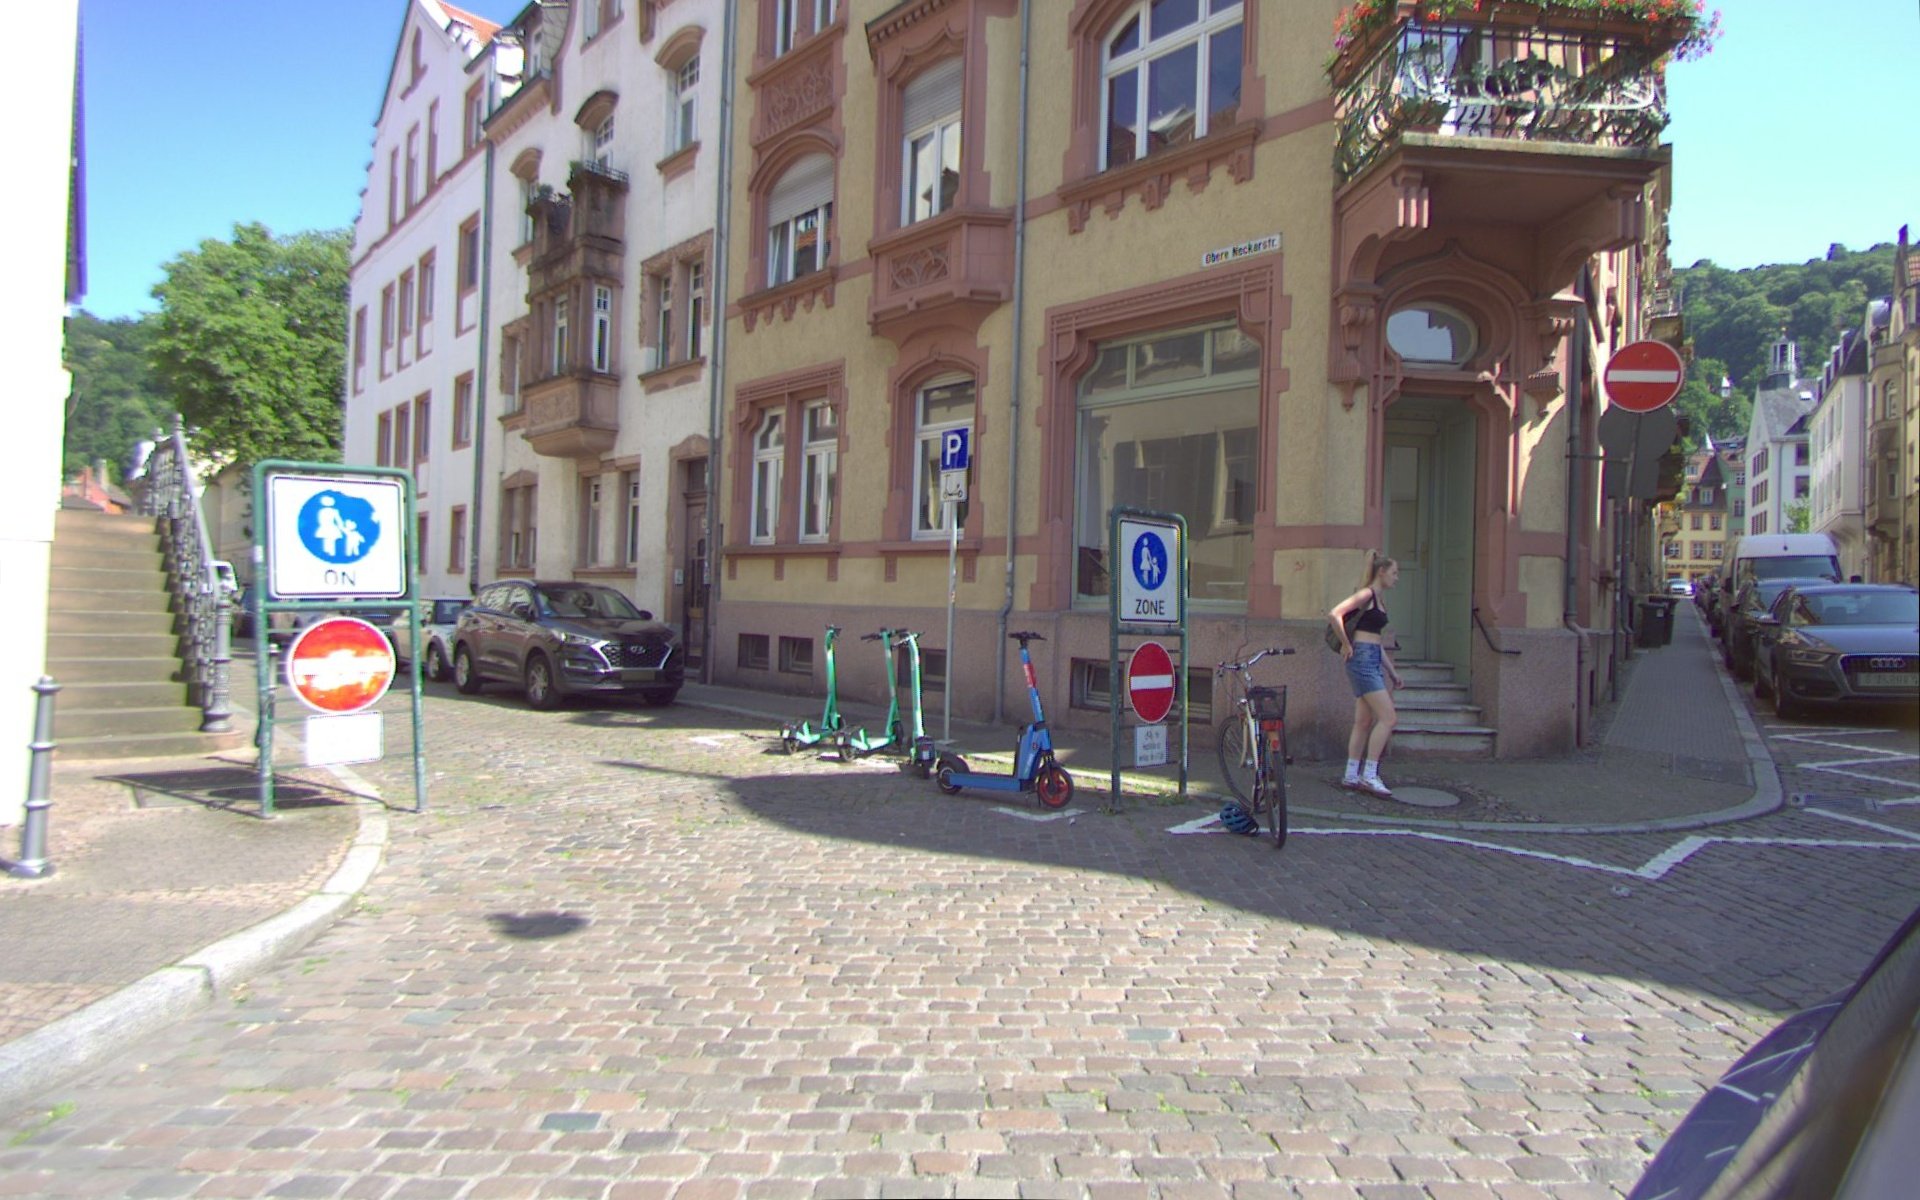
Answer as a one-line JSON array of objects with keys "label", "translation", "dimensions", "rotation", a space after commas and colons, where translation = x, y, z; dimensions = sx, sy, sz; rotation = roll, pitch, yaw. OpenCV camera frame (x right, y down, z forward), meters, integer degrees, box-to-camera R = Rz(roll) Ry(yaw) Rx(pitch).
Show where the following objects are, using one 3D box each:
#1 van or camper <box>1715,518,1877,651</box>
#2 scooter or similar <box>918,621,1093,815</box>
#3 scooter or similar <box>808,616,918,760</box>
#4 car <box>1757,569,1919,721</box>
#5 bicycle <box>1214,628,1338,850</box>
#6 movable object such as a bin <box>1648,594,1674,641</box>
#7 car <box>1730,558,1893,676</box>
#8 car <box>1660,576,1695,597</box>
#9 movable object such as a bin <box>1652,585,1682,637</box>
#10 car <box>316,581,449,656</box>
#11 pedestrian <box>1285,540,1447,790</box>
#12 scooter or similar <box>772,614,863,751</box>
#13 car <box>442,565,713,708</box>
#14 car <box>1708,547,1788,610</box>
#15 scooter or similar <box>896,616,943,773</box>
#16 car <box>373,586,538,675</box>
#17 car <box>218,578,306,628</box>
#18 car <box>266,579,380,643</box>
[{"label": "van or camper", "translation": [18.538, -0.434, 22.776], "dimensions": [2.213, 2.551, 6.684], "rotation": [2, 3, 35]}, {"label": "scooter or similar", "translation": [0.316, 0.802, 7.274], "dimensions": [1.182, 1.251, 0.437], "rotation": [1, 0, 33]}, {"label": "scooter or similar", "translation": [-0.875, 0.771, 9.399], "dimensions": [0.409, 1.224, 1.223], "rotation": [1, 0, 26]}, {"label": "car", "translation": [11.213, 0.431, 12.497], "dimensions": [1.850, 1.603, 4.208], "rotation": [-1, 1, 35]}, {"label": "bicycle", "translation": [2.017, 0.814, 6.645], "dimensions": [0.497, 1.160, 1.789], "rotation": [2, 1, 9]}, {"label": "movable object such as a bin", "translation": [14.679, 0.356, 21.183], "dimensions": [0.437, 0.970, 0.345], "rotation": [1, -1, 37]}, {"label": "car", "translation": [14.100, 0.219, 16.965], "dimensions": [1.751, 1.727, 3.949], "rotation": [-2, 0, 36]}, {"label": "car", "translation": [62.304, -1.164, 87.945], "dimensions": [1.982, 1.683, 3.959], "rotation": [1, 0, 29]}, {"label": "movable object such as a bin", "translation": [15.425, 0.242, 22.090], "dimensions": [0.514, 1.103, 0.416], "rotation": [1, -1, 37]}, {"label": "car", "translation": [-12.185, 0.337, 21.270], "dimensions": [1.683, 1.413, 3.326], "rotation": [0, 1, -44]}, {"label": "pedestrian", "translation": [3.108, 0.449, 7.761], "dimensions": [0.613, 1.780, 0.978], "rotation": [-3, 3, -45]}, {"label": "scooter or similar", "translation": [-1.366, 0.762, 9.856], "dimensions": [0.338, 1.224, 1.182], "rotation": [1, 0, 20]}, {"label": "car", "translation": [-5.351, 0.390, 13.915], "dimensions": [3.987, 1.663, 1.968], "rotation": [1, 1, 44]}, {"label": "car", "translation": [28.861, -0.748, 37.172], "dimensions": [1.987, 2.173, 3.950], "rotation": [1, 0, 34]}, {"label": "scooter or similar", "translation": [-0.336, 0.769, 8.700], "dimensions": [0.336, 1.224, 1.191], "rotation": [1, 0, -1]}, {"label": "car", "translation": [-8.889, 0.458, 17.739], "dimensions": [1.683, 1.375, 3.326], "rotation": [0, 1, -44]}, {"label": "car", "translation": [-20.857, 0.060, 30.200], "dimensions": [1.683, 1.413, 3.326], "rotation": [0, 1, -44]}, {"label": "car", "translation": [-15.316, 0.230, 24.285], "dimensions": [1.683, 1.413, 3.326], "rotation": [0, 1, -44]}]
